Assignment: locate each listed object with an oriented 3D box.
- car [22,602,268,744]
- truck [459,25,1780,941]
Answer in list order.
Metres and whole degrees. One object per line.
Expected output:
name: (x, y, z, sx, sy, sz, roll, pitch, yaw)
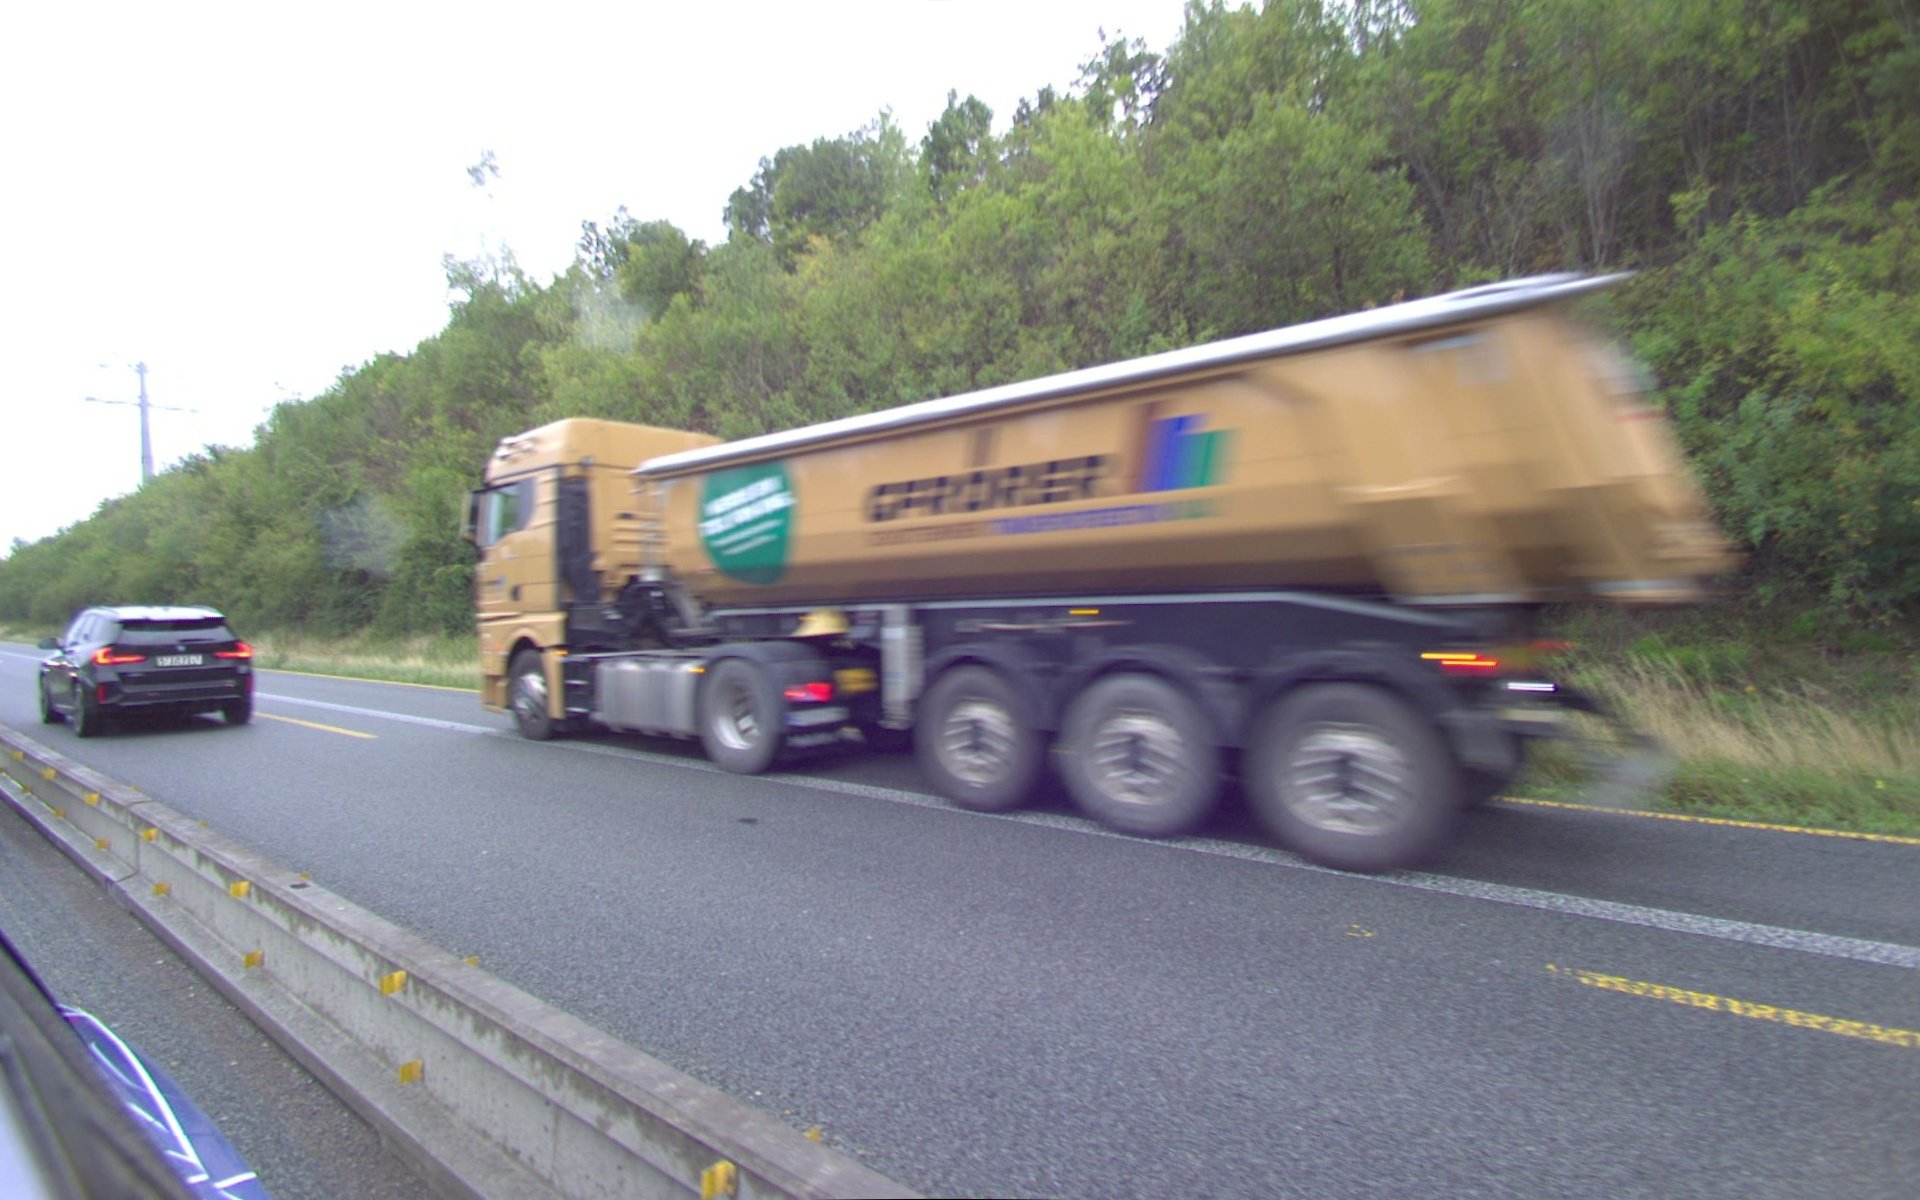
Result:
car: (-11.119, 0.864, 13.711, 4.118, 1.619, 1.915, -1, 0, 41)
truck: (-0.568, -0.422, 9.157, 12.306, 3.684, 2.653, -1, 0, 42)
